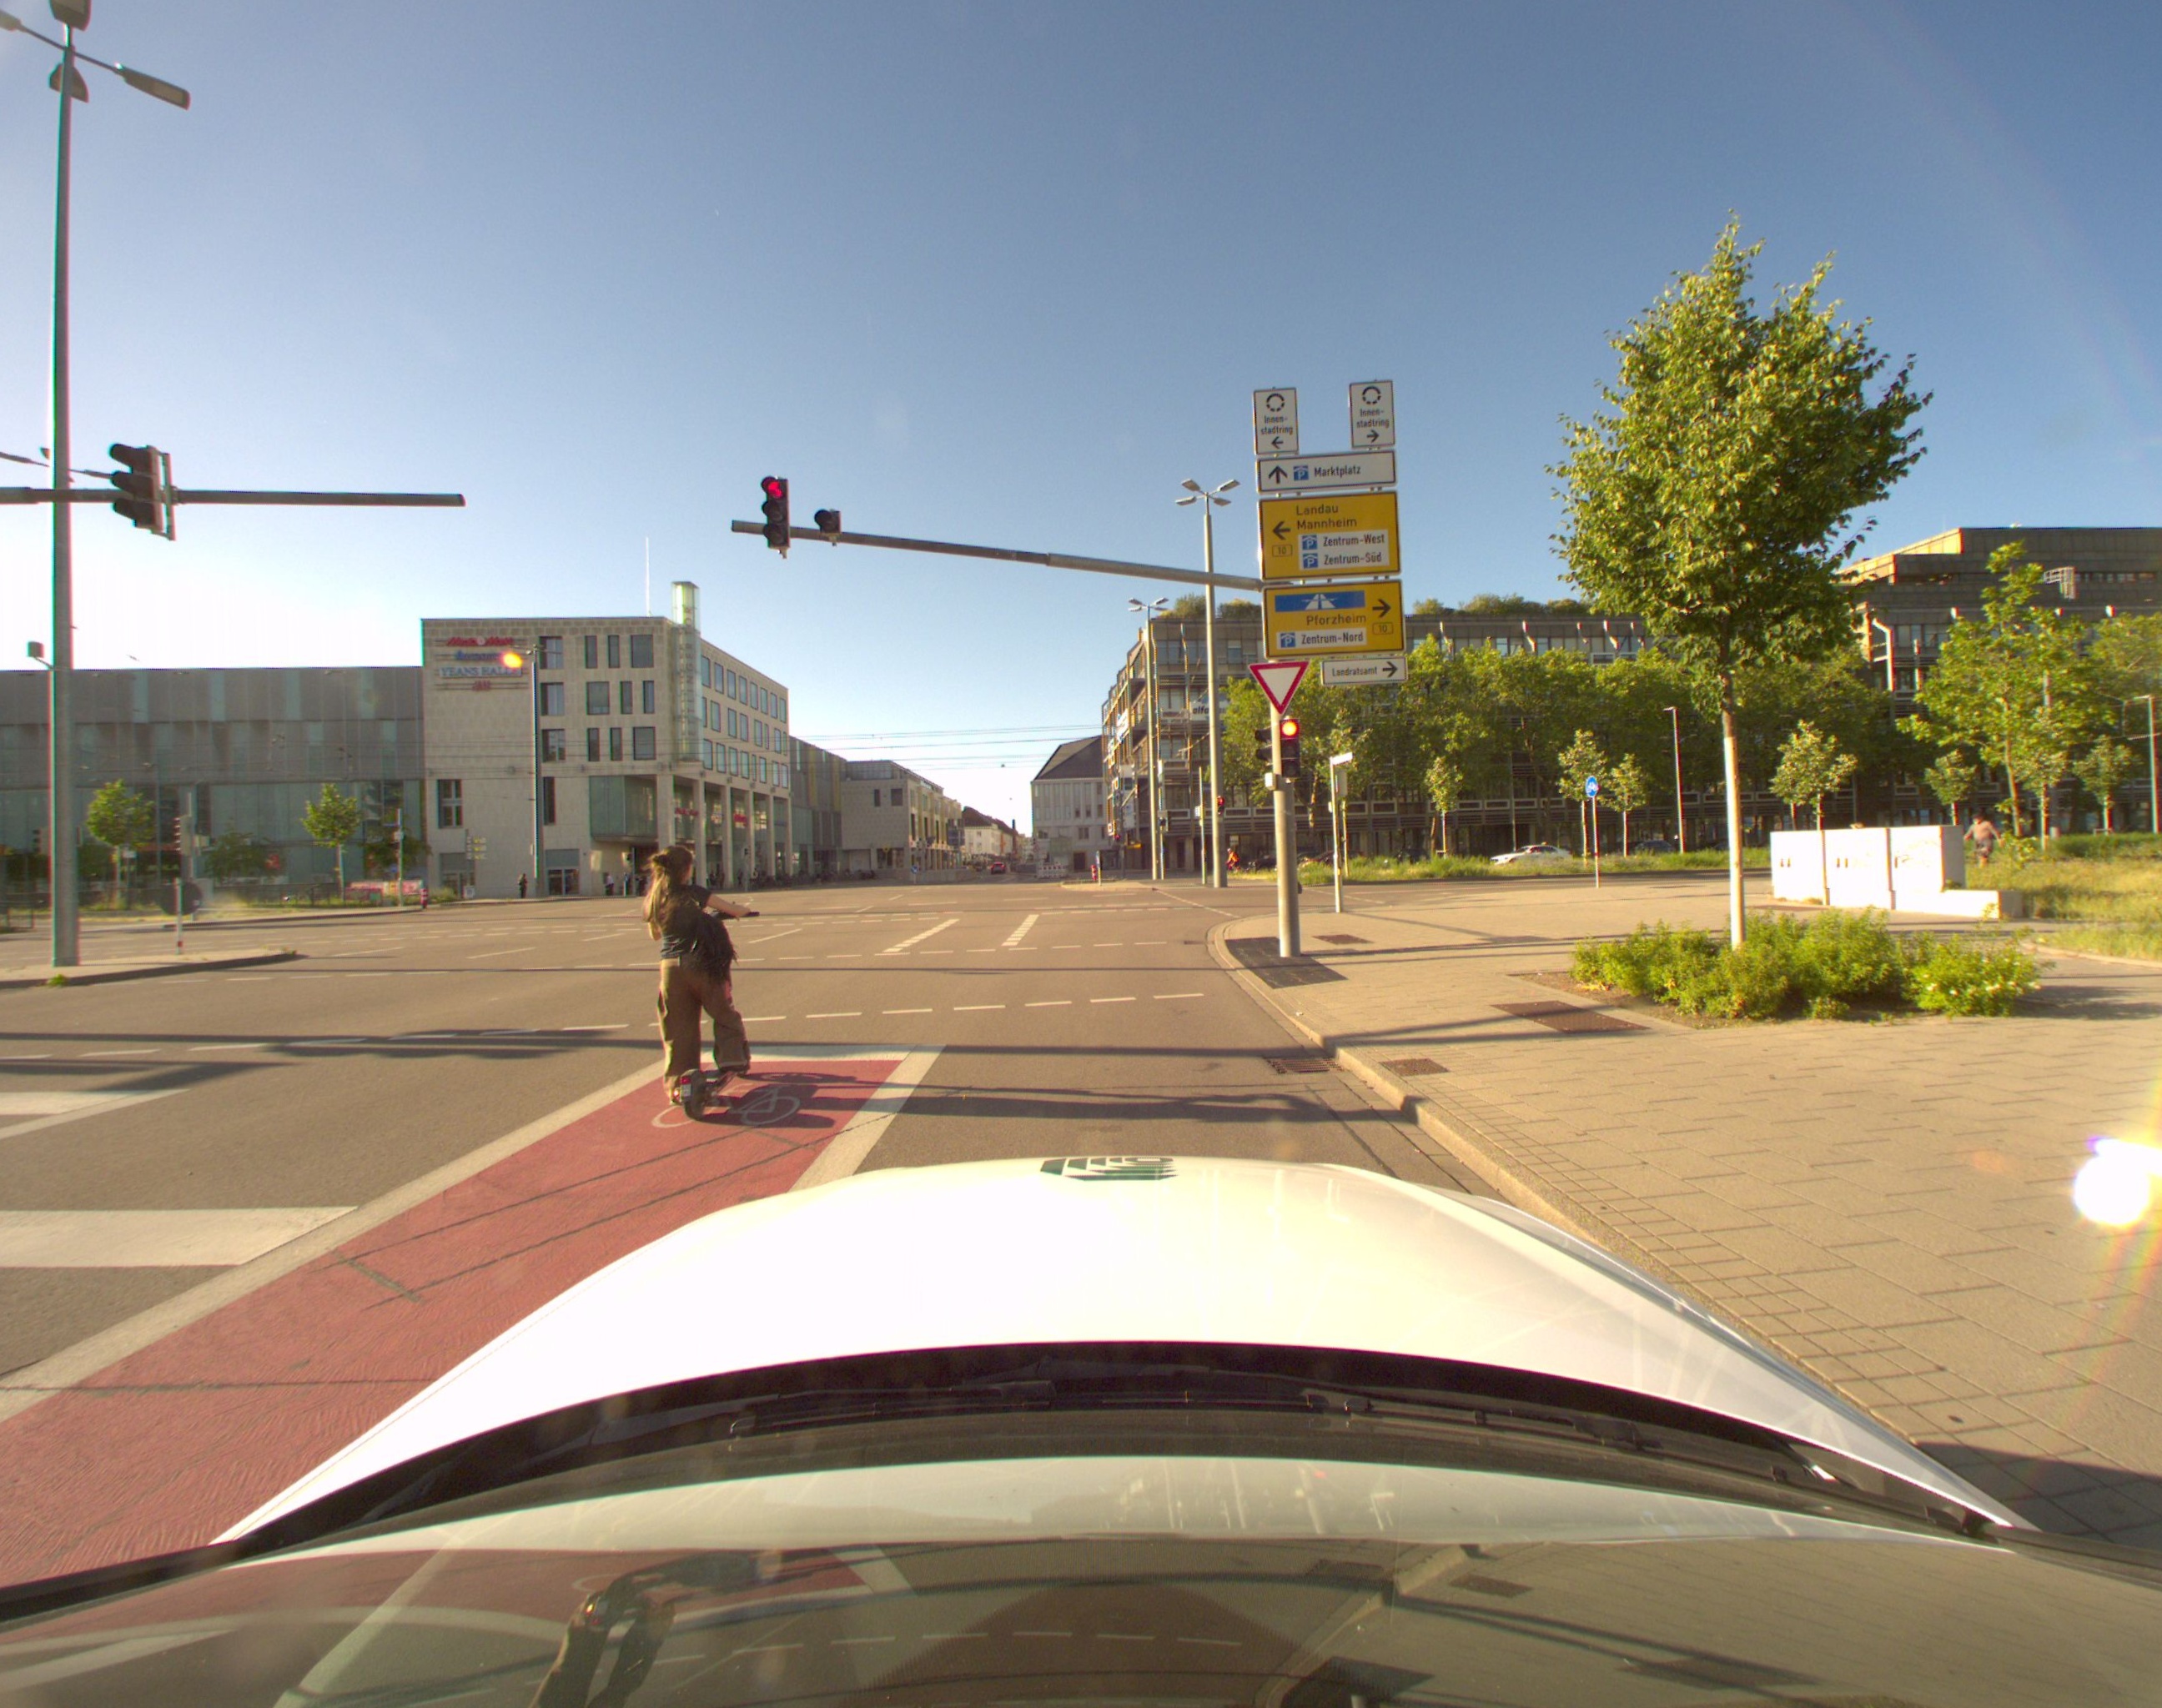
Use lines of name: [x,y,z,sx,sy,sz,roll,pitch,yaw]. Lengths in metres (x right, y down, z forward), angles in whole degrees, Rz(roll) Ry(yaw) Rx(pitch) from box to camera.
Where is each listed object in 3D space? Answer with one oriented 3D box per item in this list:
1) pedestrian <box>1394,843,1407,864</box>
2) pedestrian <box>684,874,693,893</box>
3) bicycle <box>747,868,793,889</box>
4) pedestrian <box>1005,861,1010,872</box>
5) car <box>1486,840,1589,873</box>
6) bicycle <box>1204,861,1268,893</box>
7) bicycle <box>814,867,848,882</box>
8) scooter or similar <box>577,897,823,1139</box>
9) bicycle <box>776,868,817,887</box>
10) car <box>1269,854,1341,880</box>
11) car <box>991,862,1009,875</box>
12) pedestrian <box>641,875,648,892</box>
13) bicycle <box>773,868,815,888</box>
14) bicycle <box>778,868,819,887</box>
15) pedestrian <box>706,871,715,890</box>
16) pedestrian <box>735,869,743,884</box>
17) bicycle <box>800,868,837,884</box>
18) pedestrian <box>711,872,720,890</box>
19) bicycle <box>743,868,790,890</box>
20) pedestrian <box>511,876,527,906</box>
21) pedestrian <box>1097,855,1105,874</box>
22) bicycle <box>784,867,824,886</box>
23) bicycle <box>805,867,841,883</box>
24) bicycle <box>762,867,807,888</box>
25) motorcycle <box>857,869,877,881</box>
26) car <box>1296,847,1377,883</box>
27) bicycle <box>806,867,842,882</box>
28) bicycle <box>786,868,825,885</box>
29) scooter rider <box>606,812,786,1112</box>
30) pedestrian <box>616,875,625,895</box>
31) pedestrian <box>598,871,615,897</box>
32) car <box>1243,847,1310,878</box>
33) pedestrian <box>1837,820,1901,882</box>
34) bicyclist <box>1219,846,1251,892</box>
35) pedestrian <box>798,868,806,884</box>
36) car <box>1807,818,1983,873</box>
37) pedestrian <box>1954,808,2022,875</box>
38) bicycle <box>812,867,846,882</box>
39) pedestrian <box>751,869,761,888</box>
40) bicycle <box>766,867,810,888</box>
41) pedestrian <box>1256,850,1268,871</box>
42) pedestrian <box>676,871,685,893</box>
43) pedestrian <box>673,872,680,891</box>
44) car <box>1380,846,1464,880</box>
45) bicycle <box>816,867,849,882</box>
pedestrian: [25.652,-0.002,65.310,0.662,1.658,0.739,-2,0,-5]
pedestrian: [-32.845,2.447,68.183,0.480,1.585,0.598,-2,0,-3]
bicycle: [-26.912,2.111,70.489,3.488,1.696,1.114,-2,0,-7]
pedestrian: [-9.757,1.716,108.678,0.608,1.411,0.569,-2,0,-5]
car: [28.893,0.145,51.655,5.424,2.014,2.097,0,-1,-1]
bicycle: [8.926,1.315,47.067,3.488,1.659,0.929,-2,0,-7]
bicycle: [-28.176,2.294,91.747,3.491,1.527,0.984,-2,0,-10]
scooter or similar: [-2.317,0.924,5.215,0.726,1.202,1.665,-1,0,2]
bicycle: [-26.858,2.200,76.856,3.491,1.696,0.984,-2,0,-10]
car: [13.851,0.783,50.476,3.976,1.508,1.867,-1,0,-2]
car: [-10.795,1.887,108.860,2.195,1.607,4.320,-2,0,-4]
pedestrian: [-35.379,2.389,65.975,0.388,1.426,0.499,-2,0,-23]
bicycle: [-26.682,2.182,75.760,3.491,1.696,0.984,-2,0,-10]
bicycle: [-27.047,2.212,78.065,3.491,1.696,0.984,-2,0,-10]
pedestrian: [-32.350,2.326,71.151,0.480,1.585,0.513,-2,0,-3]
pedestrian: [-33.607,2.210,80.031,0.640,1.435,0.472,-2,0,-21]
bicycle: [-27.551,2.293,85.580,3.491,1.527,0.984,-2,0,-10]
pedestrian: [-32.204,2.388,71.770,0.480,1.510,0.513,-2,0,-3]
bicycle: [-26.733,2.098,69.292,3.488,1.696,1.114,-2,0,-7]
pedestrian: [-32.636,2.149,47.262,0.525,1.694,0.546,-2,0,-8]
pedestrian: [1.720,0.884,69.695,0.661,1.658,0.755,-2,0,-1]
bicycle: [-27.251,2.236,80.161,3.491,1.696,0.984,-2,0,-10]
bicycle: [-27.656,2.214,87.448,3.491,1.527,0.984,-2,0,-10]
bicycle: [-26.146,2.071,71.953,3.488,1.696,1.114,-2,0,-7]
motorcycle: [-25.972,2.538,98.865,2.269,1.318,0.719,-2,0,-4]
car: [14.453,0.619,46.209,3.975,2.014,1.999,0,-1,-1]
bicycle: [-27.926,2.214,88.577,3.491,1.527,0.984,-2,0,-10]
bicycle: [-27.413,2.228,81.158,3.491,1.527,0.984,-2,0,-10]
scooter rider: [-2.441,0.645,5.260,0.726,1.775,0.811,-1,0,1]
pedestrian: [-37.021,2.473,65.510,0.420,1.565,0.457,-2,0,2]
pedestrian: [-34.041,2.154,58.461,0.755,1.798,0.736,-2,0,-3]
car: [12.839,0.561,53.624,3.975,2.014,1.999,0,-1,-1]
pedestrian: [21.500,-0.090,22.235,0.801,1.630,0.939,-2,0,-12]
bicyclist: [8.885,0.855,47.071,1.566,2.580,0.929,-2,0,-7]
pedestrian: [-30.173,2.397,88.016,0.652,1.642,0.693,-2,0,-7]
car: [28.735,-0.308,28.833,4.383,1.660,1.998,-3,0,-4]
pedestrian: [24.147,-0.327,21.697,0.694,1.728,0.939,-2,0,-12]
bicycle: [-27.933,2.252,90.354,3.491,1.527,0.984,-2,0,-10]
pedestrian: [-30.347,2.282,75.983,0.788,1.642,0.689,-2,0,-27]
bicycle: [-26.322,2.117,73.174,3.488,1.696,1.114,-2,0,-7]
pedestrian: [14.734,0.536,66.383,0.728,1.658,0.649,-2,0,-5]
pedestrian: [-30.430,2.151,61.852,0.542,1.642,0.546,-2,0,-22]
pedestrian: [-33.985,2.320,68.387,0.385,1.585,0.367,-2,0,-3]
car: [21.405,0.562,51.248,4.435,2.014,1.998,0,-1,-4]
bicycle: [-28.293,2.331,92.777,3.491,1.527,0.984,-2,0,-10]
